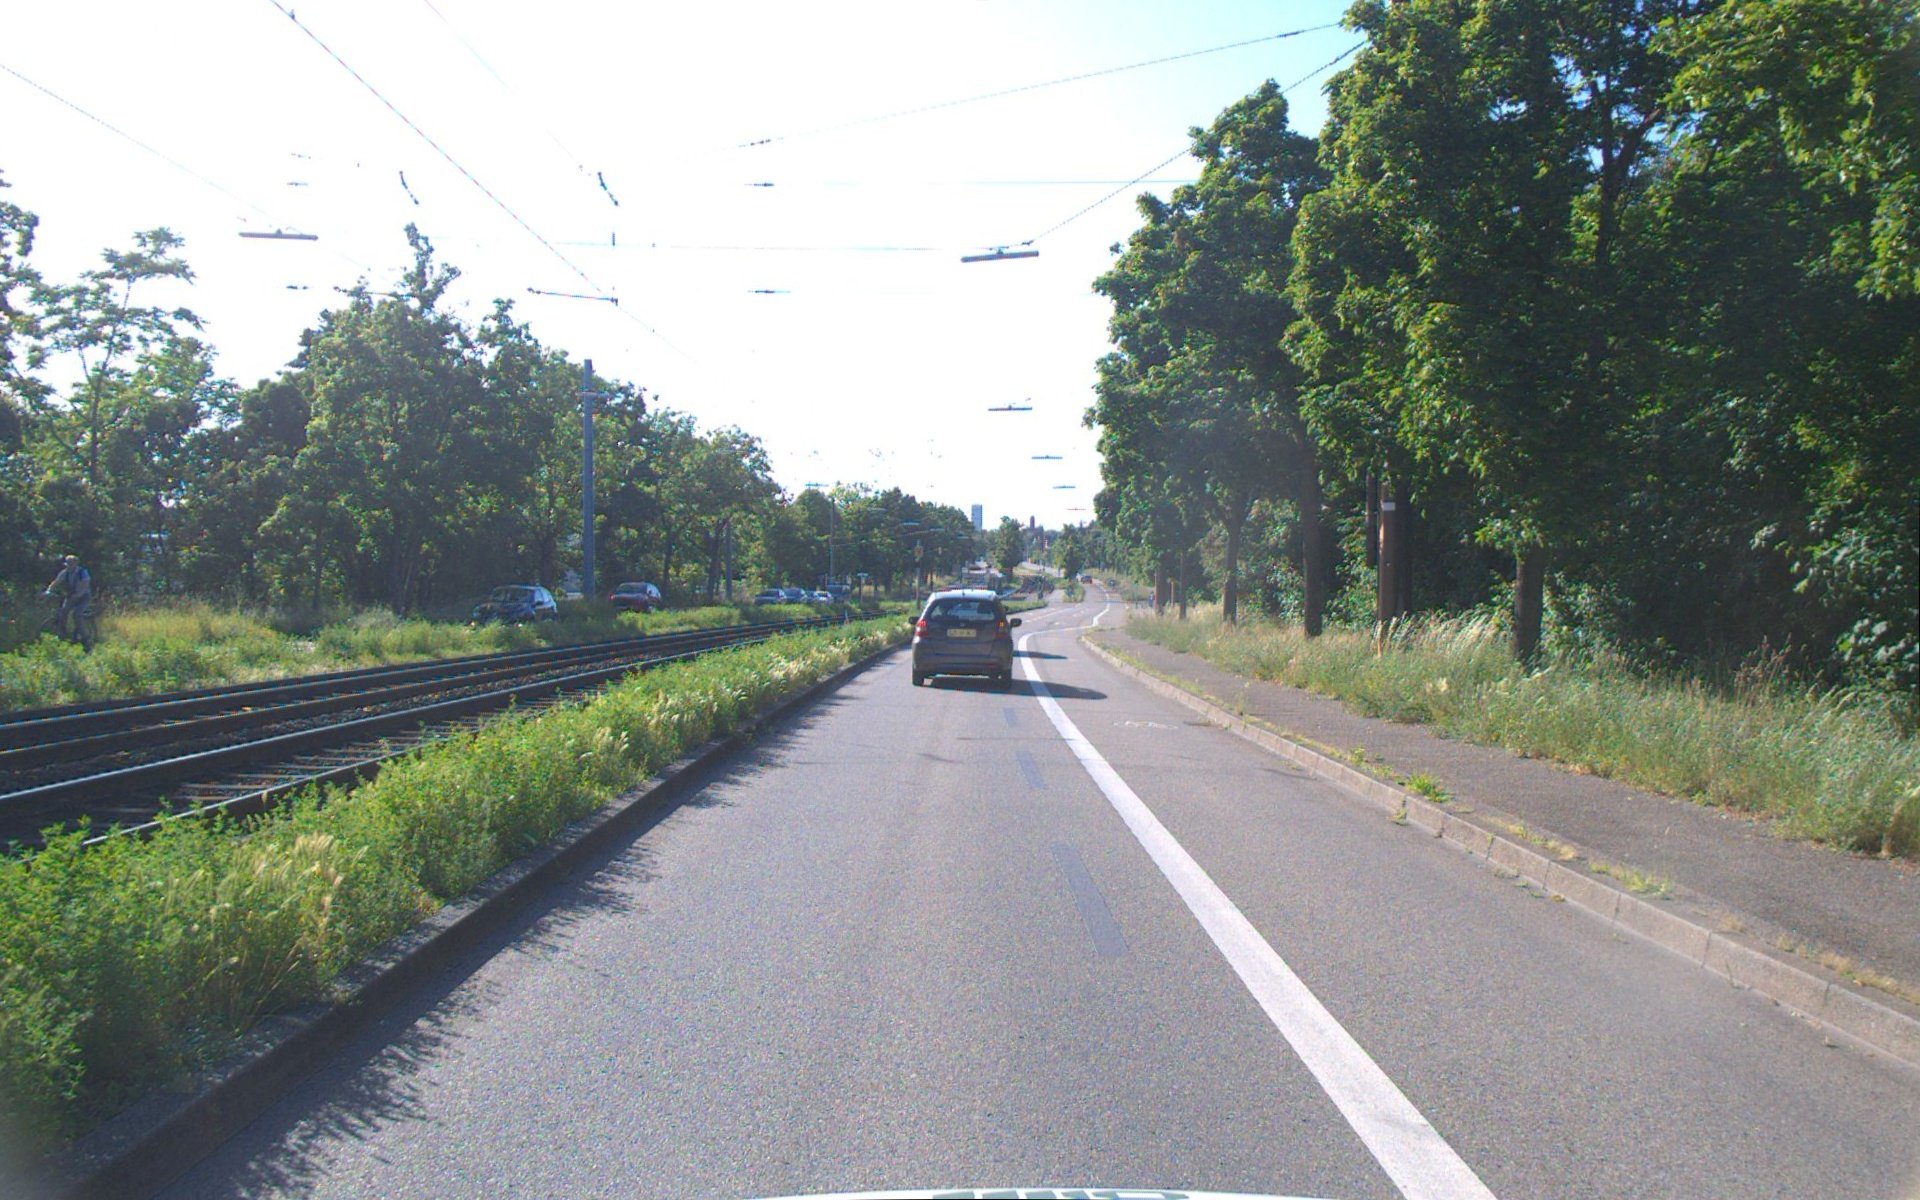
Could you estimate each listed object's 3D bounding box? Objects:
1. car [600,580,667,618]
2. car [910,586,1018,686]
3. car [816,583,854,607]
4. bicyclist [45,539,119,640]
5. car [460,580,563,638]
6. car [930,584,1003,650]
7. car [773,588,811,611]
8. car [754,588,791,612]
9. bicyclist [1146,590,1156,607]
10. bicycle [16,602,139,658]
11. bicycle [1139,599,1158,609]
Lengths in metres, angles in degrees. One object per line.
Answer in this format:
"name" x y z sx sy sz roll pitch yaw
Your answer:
"car" -15.640 -0.067 79.435 1.962 1.732 4.469 1 0 5
"car" 0.068 0.561 28.265 1.672 1.535 4.000 2 0 0
"car" -10.432 -0.453 138.402 2.150 1.924 4.795 1 1 8
"bicyclist" -15.778 -0.191 29.751 0.802 1.767 0.902 1 0 1
"car" -12.536 0.230 46.456 1.675 1.505 4.001 1 0 2
"car" 0.225 0.406 44.117 1.812 1.634 4.255 1 0 1
"car" -12.174 -0.048 120.150 1.951 1.602 4.437 1 1 4
"car" -12.819 -0.006 113.518 1.699 1.520 4.330 2 0 4
"bicyclist" 19.565 -0.167 169.786 0.891 1.775 0.765 0 0 17
"bicycle" -15.797 0.520 29.707 0.801 0.930 2.537 1 0 1
"bicycle" 19.373 0.440 169.844 1.879 1.015 0.765 -1 -1 17
